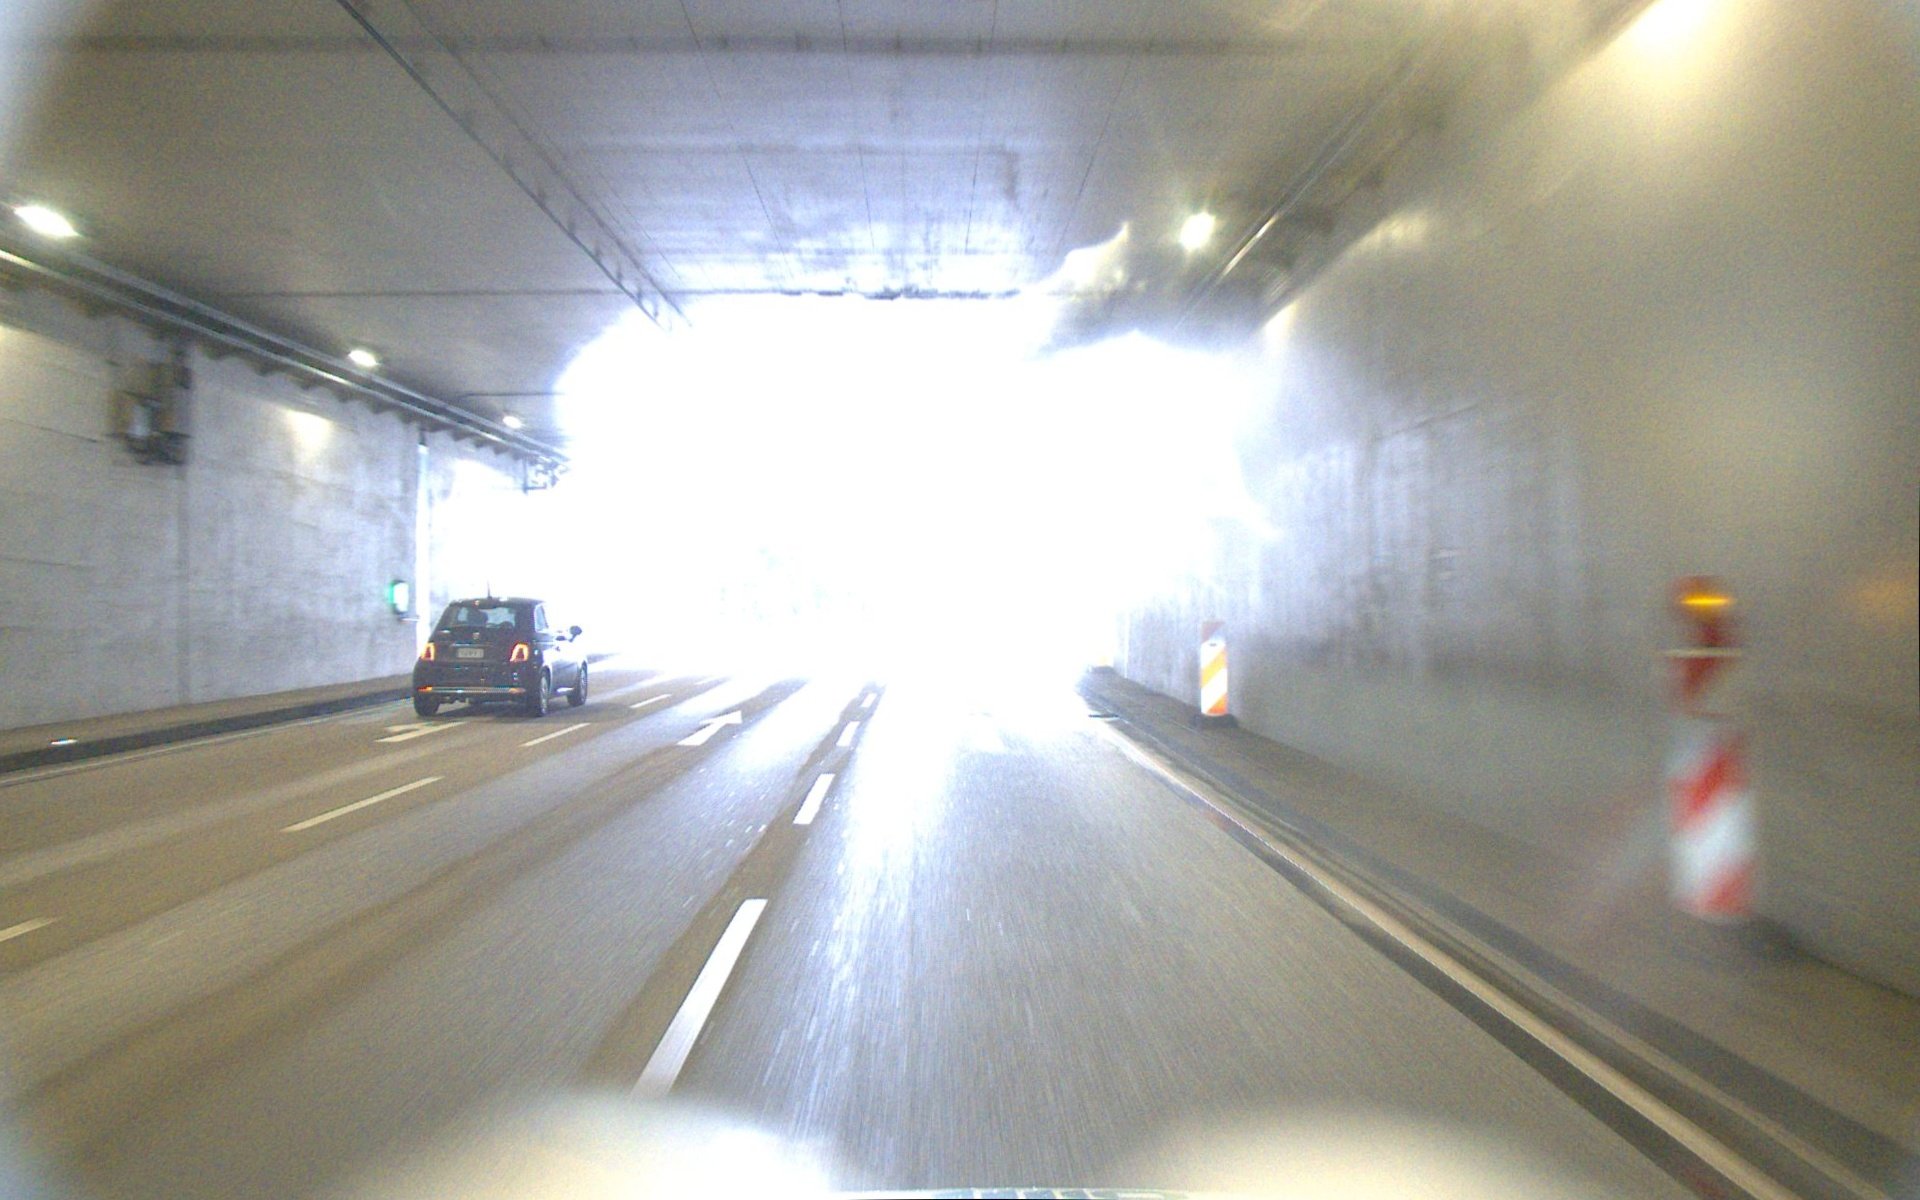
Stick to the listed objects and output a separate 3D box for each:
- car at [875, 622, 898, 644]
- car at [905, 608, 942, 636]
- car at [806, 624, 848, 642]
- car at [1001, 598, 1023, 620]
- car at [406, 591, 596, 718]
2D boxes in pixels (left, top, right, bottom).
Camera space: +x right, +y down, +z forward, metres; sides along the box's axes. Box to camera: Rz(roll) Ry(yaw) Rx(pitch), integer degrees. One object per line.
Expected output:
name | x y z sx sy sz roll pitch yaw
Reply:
car | -6.265 2.801 141.019 1.854 1.713 3.996 1 0 -4
car | -2.074 1.264 92.543 1.953 1.473 4.312 1 -2 -2
car | -12.046 2.942 149.351 1.880 1.540 3.941 1 0 -40
car | 5.128 0.923 162.806 1.953 2.049 3.999 2 -1 -1
car | -5.957 0.665 21.827 1.580 1.480 3.571 2 0 -2
